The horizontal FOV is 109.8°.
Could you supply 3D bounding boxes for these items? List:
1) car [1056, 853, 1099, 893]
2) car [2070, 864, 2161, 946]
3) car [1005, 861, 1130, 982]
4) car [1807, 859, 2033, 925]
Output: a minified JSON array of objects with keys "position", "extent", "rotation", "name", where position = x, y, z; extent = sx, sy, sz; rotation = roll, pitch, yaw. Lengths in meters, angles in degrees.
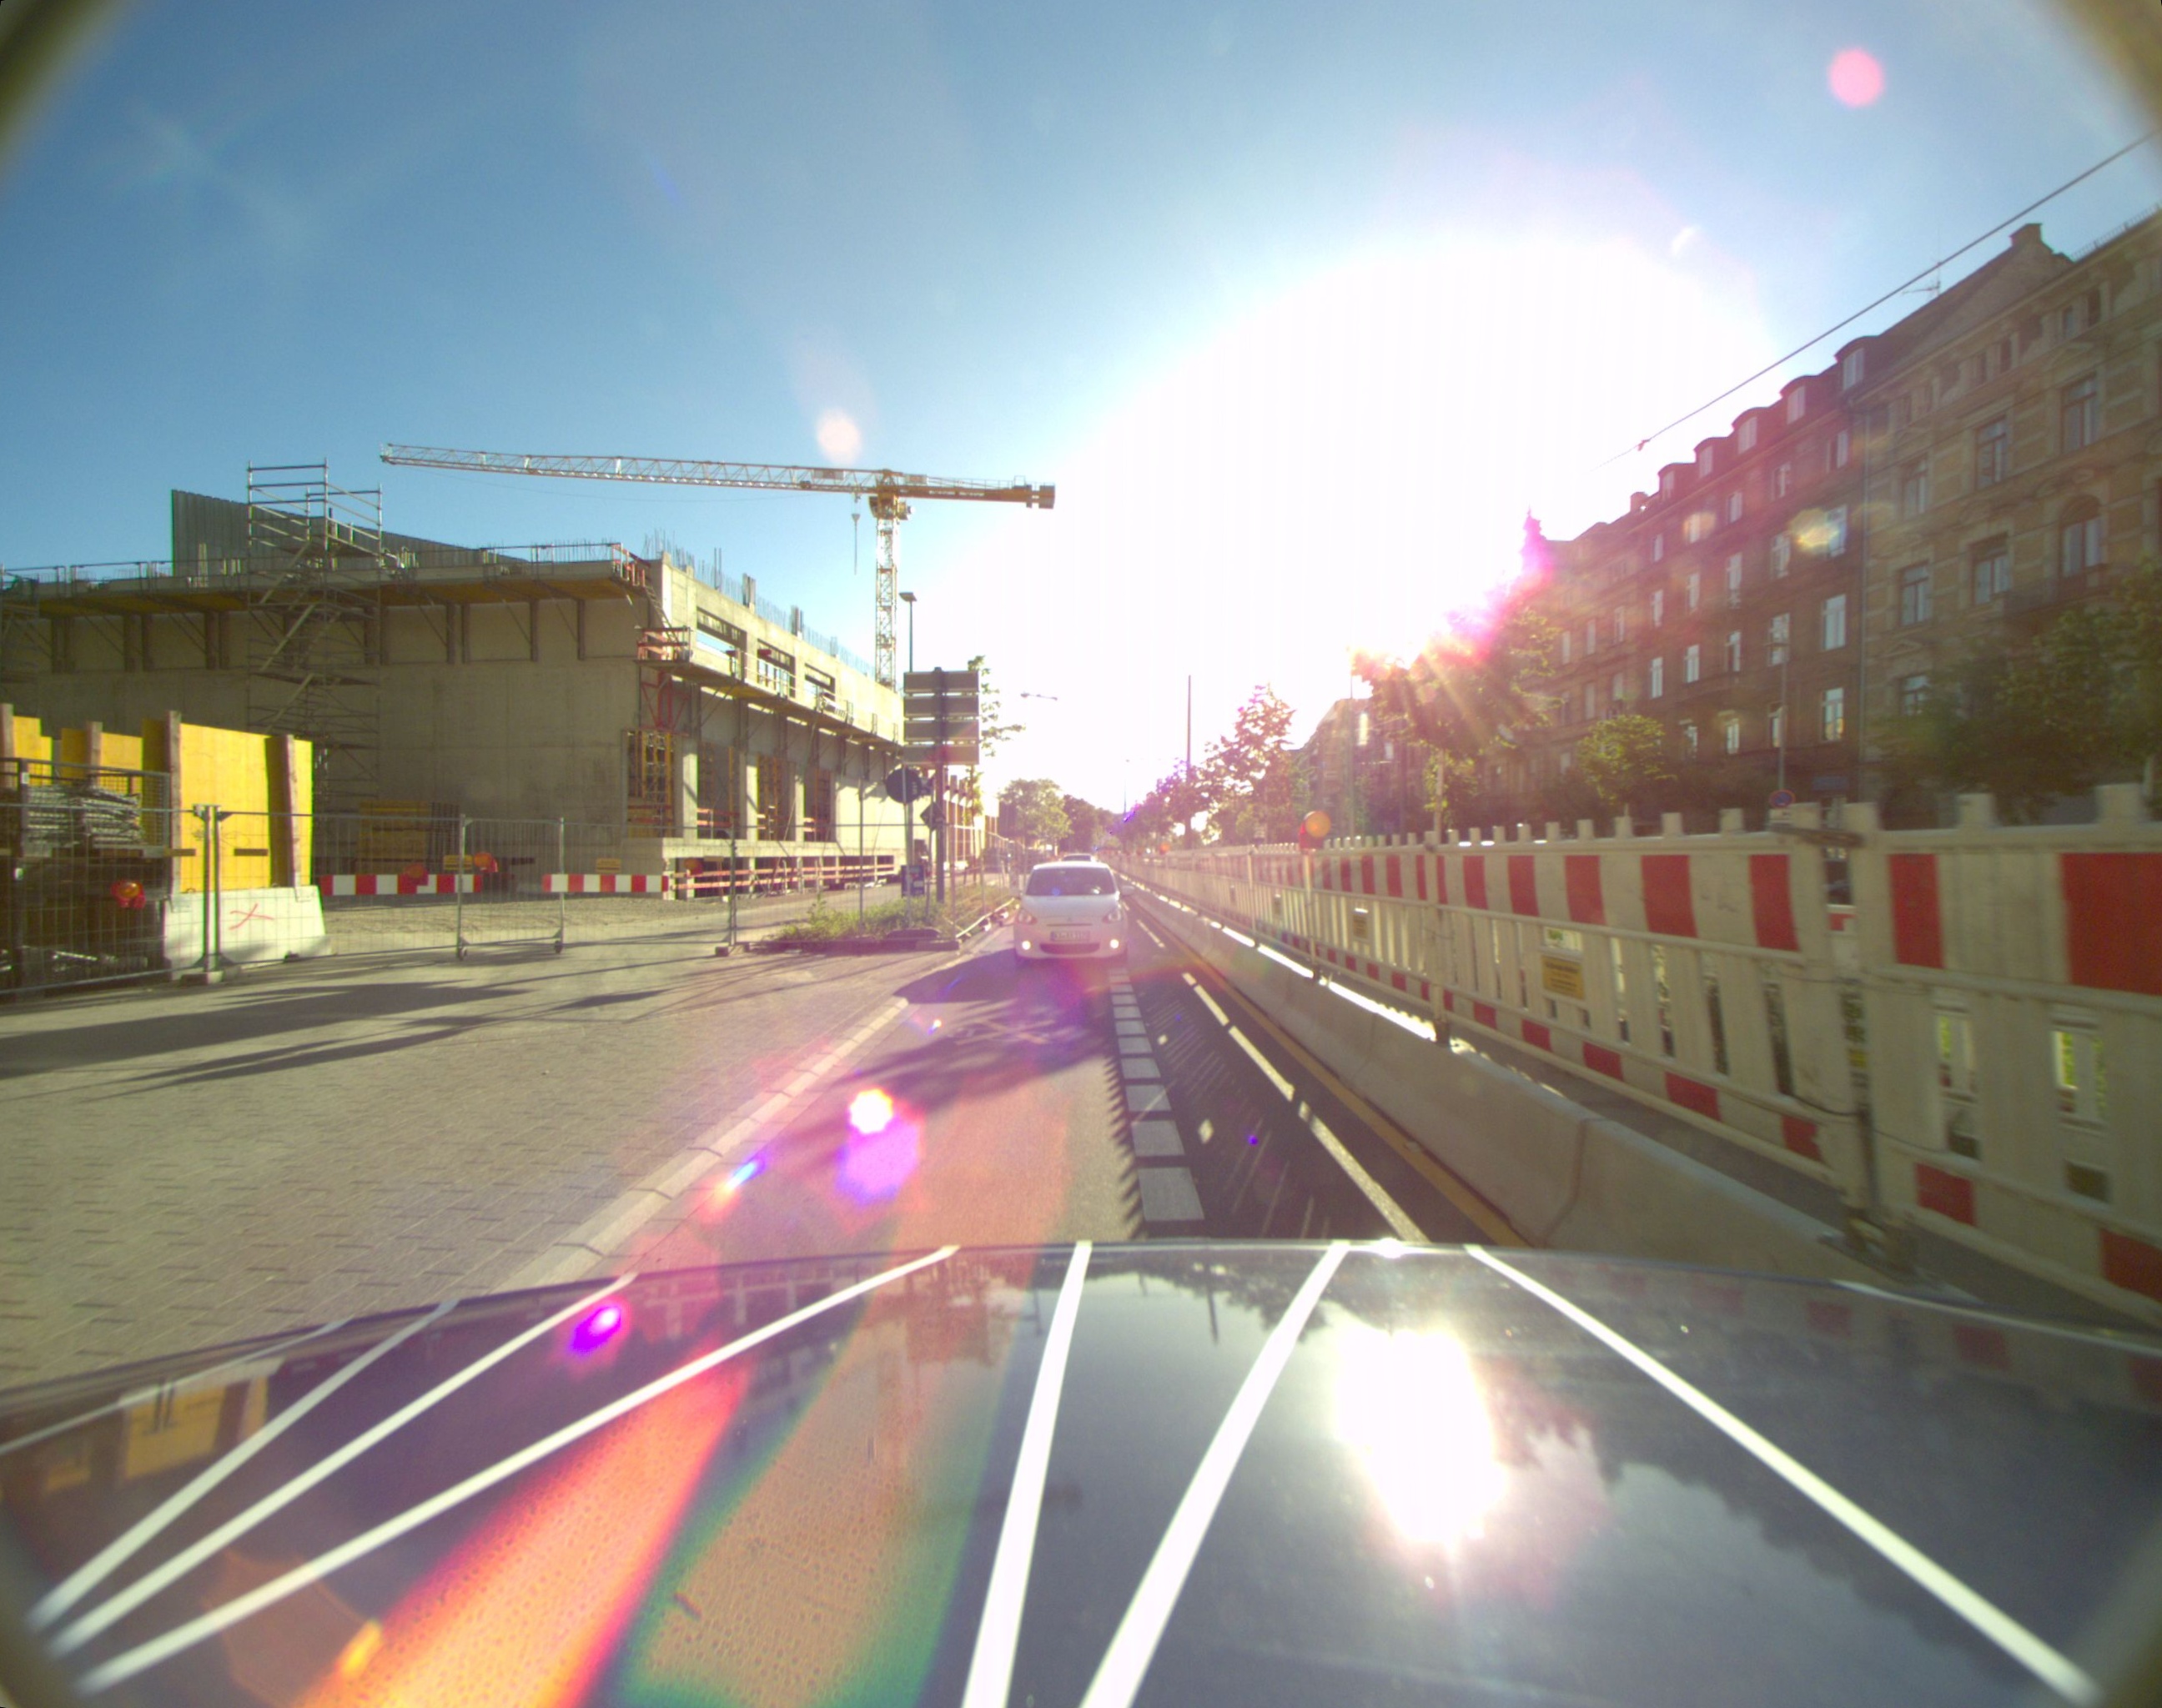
[{"position":[-0.172,0.876,37.408],"extent":[1.900,1.730,3.999],"rotation":[-3,1,0],"name":"car"},{"position":[22.551,1.046,14.077],"extent":[1.998,1.529,4.984],"rotation":[-2,1,1],"name":"car"},{"position":[-0.159,0.937,12.486],"extent":[1.634,1.499,4.350],"rotation":[-2,0,1],"name":"car"},{"position":[22.630,0.951,20.761],"extent":[1.753,1.471,4.027],"rotation":[-2,1,1],"name":"car"}]
